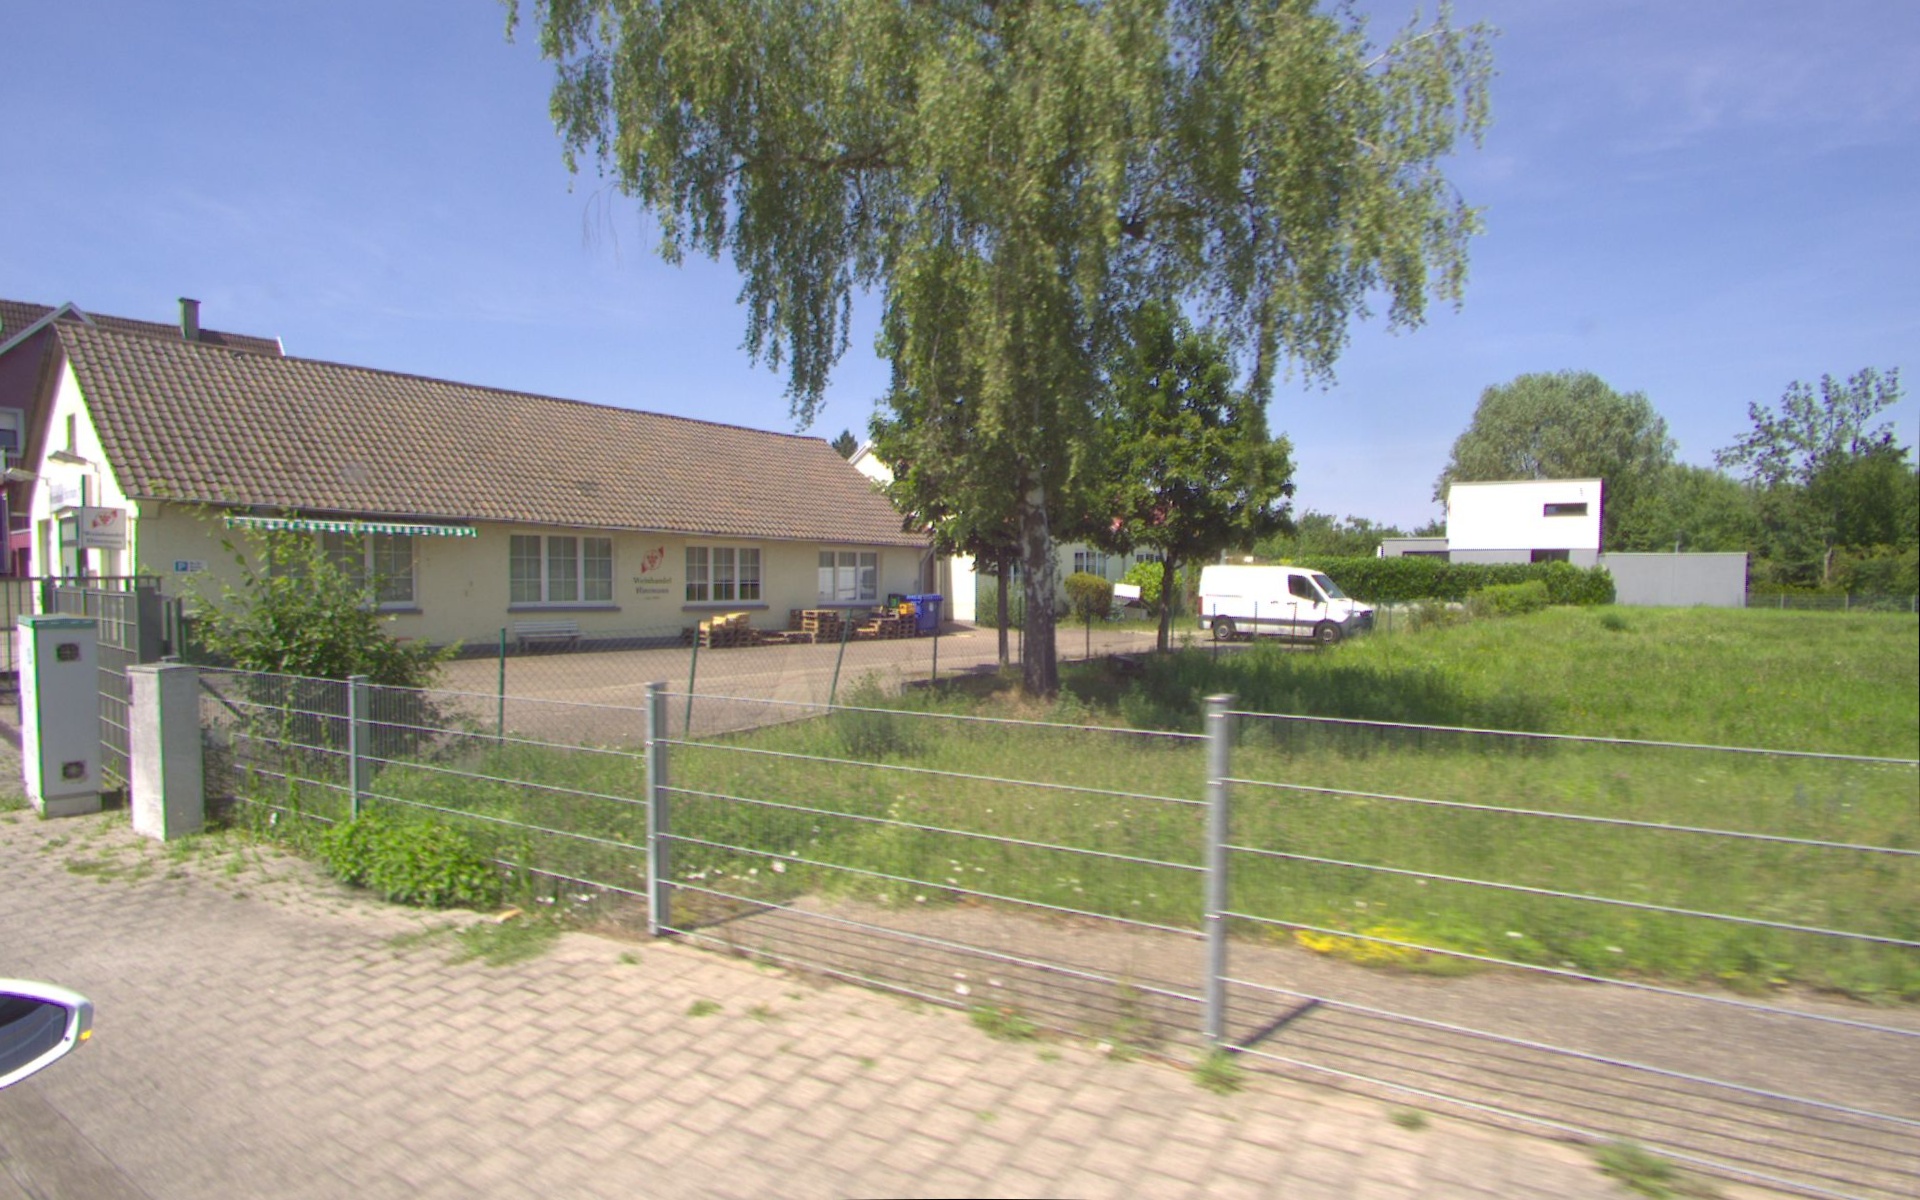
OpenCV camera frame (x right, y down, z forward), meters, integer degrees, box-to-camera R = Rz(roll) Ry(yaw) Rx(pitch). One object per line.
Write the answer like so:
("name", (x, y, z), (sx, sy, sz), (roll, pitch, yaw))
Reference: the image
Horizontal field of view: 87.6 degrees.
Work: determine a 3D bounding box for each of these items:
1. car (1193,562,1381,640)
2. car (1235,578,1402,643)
("car", (10.025, 0.024, 30.897), (5.116, 2.231, 2.201), (0, 1, 36))
("car", (11.893, 0.328, 33.355), (4.870, 2.041, 2.055), (0, 1, 37))
